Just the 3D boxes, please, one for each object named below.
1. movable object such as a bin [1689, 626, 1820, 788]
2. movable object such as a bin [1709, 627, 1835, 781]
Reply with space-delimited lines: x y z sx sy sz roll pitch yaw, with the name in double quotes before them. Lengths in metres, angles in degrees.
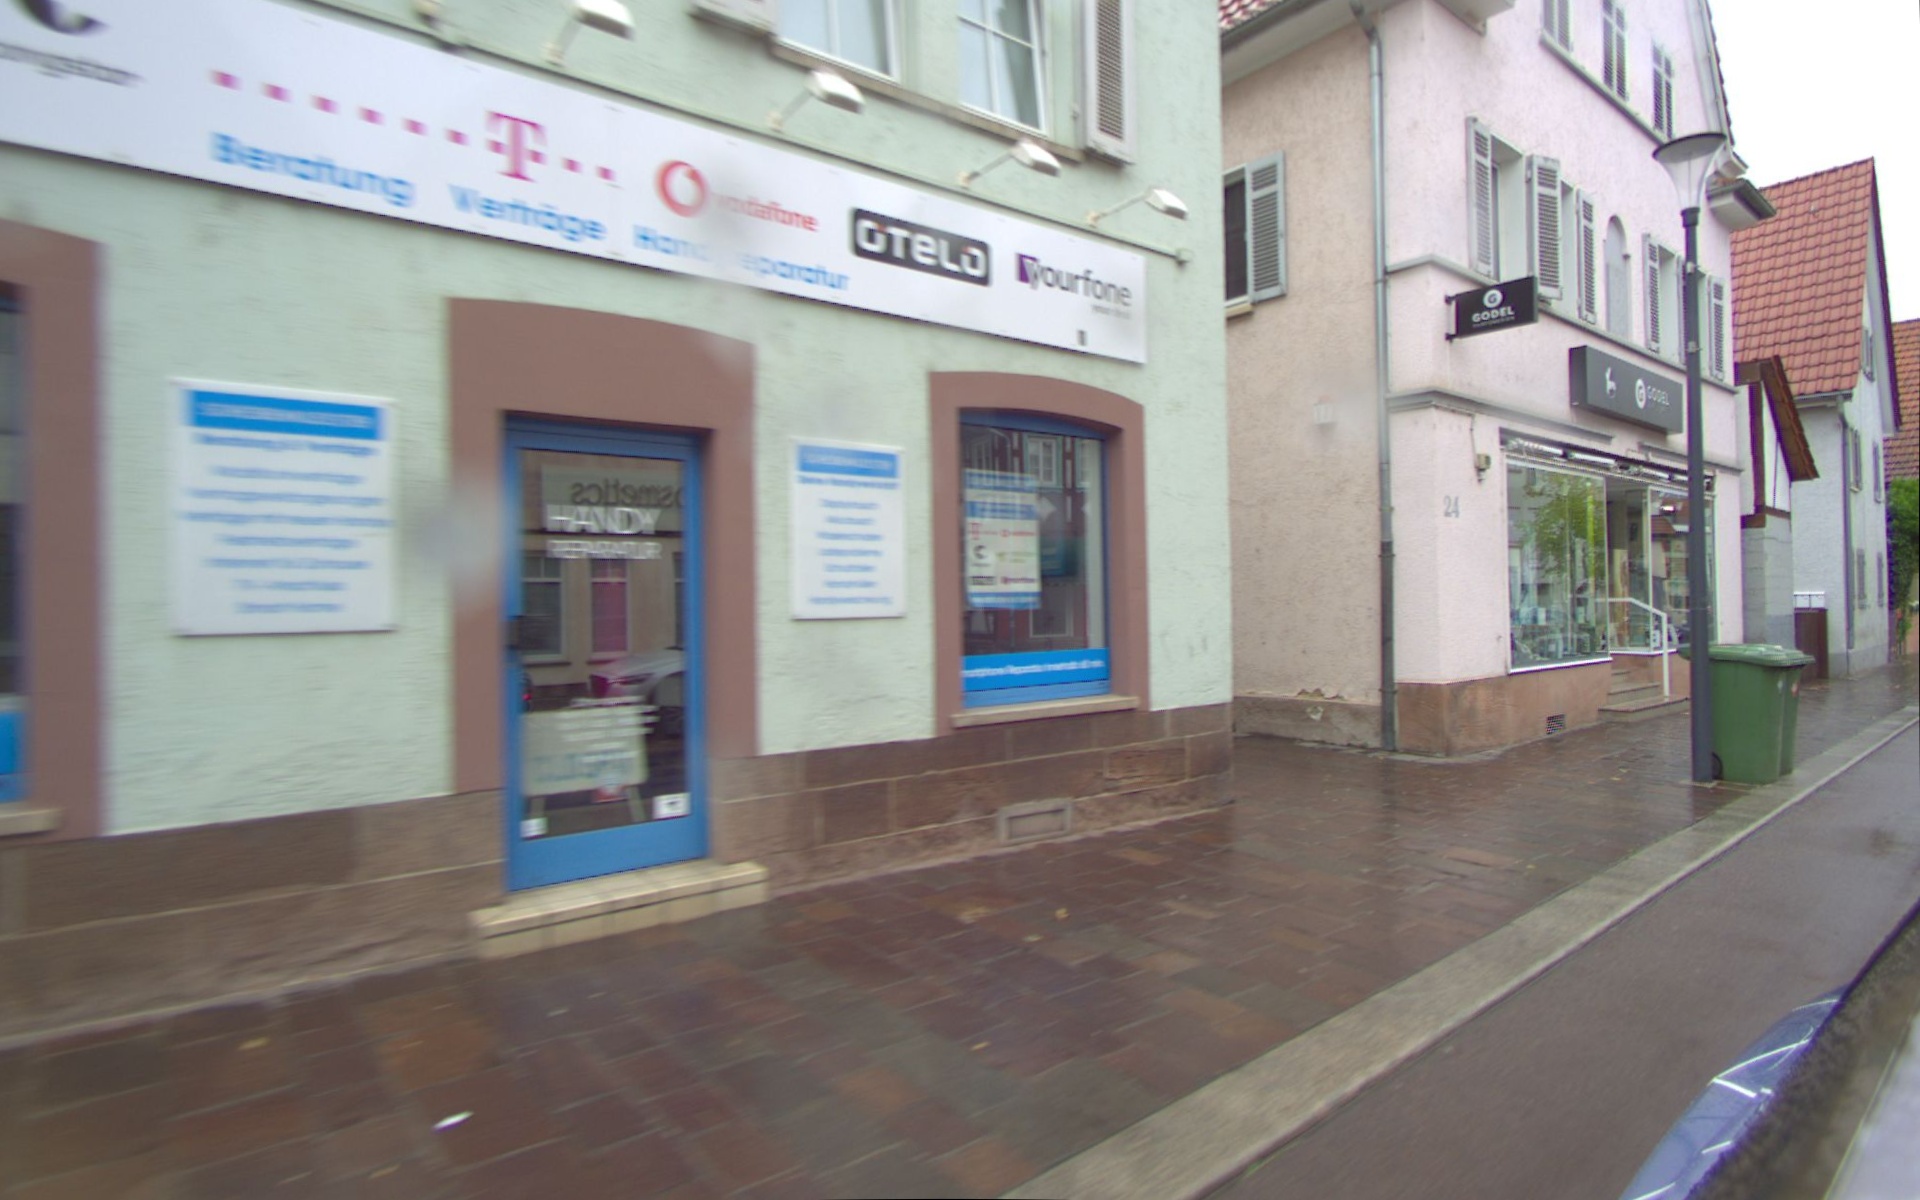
"movable object such as a bin" 6.471 0.832 8.251 0.568 1.216 0.720 -1 0 -39
"movable object such as a bin" 6.917 0.852 8.630 0.563 1.216 0.720 -1 0 -39
